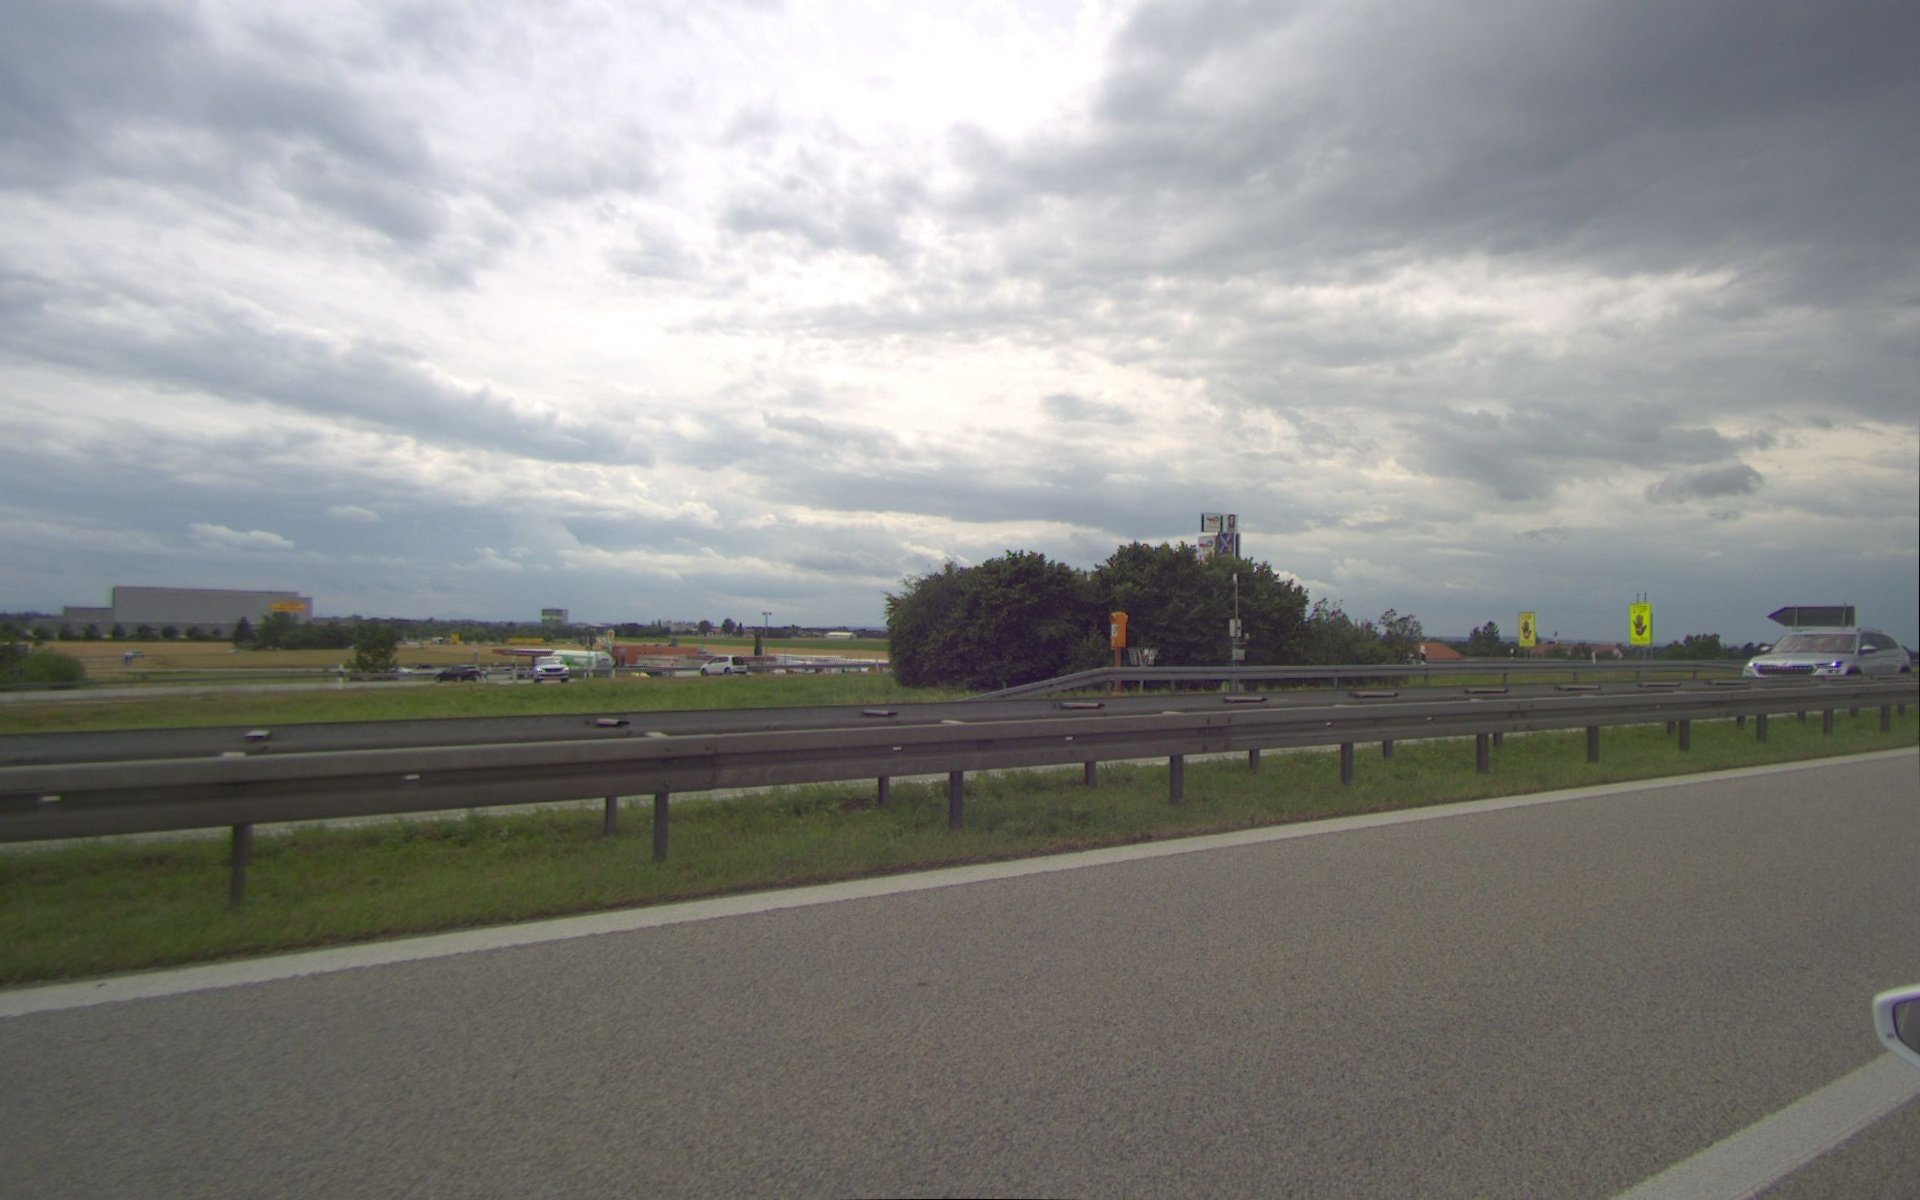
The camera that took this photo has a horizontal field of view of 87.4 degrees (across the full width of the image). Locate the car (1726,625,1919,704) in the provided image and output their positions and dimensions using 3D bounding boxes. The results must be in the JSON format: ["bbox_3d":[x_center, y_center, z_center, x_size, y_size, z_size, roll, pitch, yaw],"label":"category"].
[{"bbox_3d":[19.272,1.383,22.367,4.707,1.609,1.882,1,-2,-31],"label":"car"}]

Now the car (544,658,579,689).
[{"bbox_3d":[-24.604,4.519,62.086,1.890,1.493,4.271,2,1,-21],"label":"car"}]

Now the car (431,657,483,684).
[{"bbox_3d":[-43.101,5.989,86.051,3.925,2.040,1.998,1,0,25],"label":"car"}]

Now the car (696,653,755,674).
[{"bbox_3d":[-16.814,4.549,71.945,3.935,1.318,1.880,-4,-1,35],"label":"car"}]
